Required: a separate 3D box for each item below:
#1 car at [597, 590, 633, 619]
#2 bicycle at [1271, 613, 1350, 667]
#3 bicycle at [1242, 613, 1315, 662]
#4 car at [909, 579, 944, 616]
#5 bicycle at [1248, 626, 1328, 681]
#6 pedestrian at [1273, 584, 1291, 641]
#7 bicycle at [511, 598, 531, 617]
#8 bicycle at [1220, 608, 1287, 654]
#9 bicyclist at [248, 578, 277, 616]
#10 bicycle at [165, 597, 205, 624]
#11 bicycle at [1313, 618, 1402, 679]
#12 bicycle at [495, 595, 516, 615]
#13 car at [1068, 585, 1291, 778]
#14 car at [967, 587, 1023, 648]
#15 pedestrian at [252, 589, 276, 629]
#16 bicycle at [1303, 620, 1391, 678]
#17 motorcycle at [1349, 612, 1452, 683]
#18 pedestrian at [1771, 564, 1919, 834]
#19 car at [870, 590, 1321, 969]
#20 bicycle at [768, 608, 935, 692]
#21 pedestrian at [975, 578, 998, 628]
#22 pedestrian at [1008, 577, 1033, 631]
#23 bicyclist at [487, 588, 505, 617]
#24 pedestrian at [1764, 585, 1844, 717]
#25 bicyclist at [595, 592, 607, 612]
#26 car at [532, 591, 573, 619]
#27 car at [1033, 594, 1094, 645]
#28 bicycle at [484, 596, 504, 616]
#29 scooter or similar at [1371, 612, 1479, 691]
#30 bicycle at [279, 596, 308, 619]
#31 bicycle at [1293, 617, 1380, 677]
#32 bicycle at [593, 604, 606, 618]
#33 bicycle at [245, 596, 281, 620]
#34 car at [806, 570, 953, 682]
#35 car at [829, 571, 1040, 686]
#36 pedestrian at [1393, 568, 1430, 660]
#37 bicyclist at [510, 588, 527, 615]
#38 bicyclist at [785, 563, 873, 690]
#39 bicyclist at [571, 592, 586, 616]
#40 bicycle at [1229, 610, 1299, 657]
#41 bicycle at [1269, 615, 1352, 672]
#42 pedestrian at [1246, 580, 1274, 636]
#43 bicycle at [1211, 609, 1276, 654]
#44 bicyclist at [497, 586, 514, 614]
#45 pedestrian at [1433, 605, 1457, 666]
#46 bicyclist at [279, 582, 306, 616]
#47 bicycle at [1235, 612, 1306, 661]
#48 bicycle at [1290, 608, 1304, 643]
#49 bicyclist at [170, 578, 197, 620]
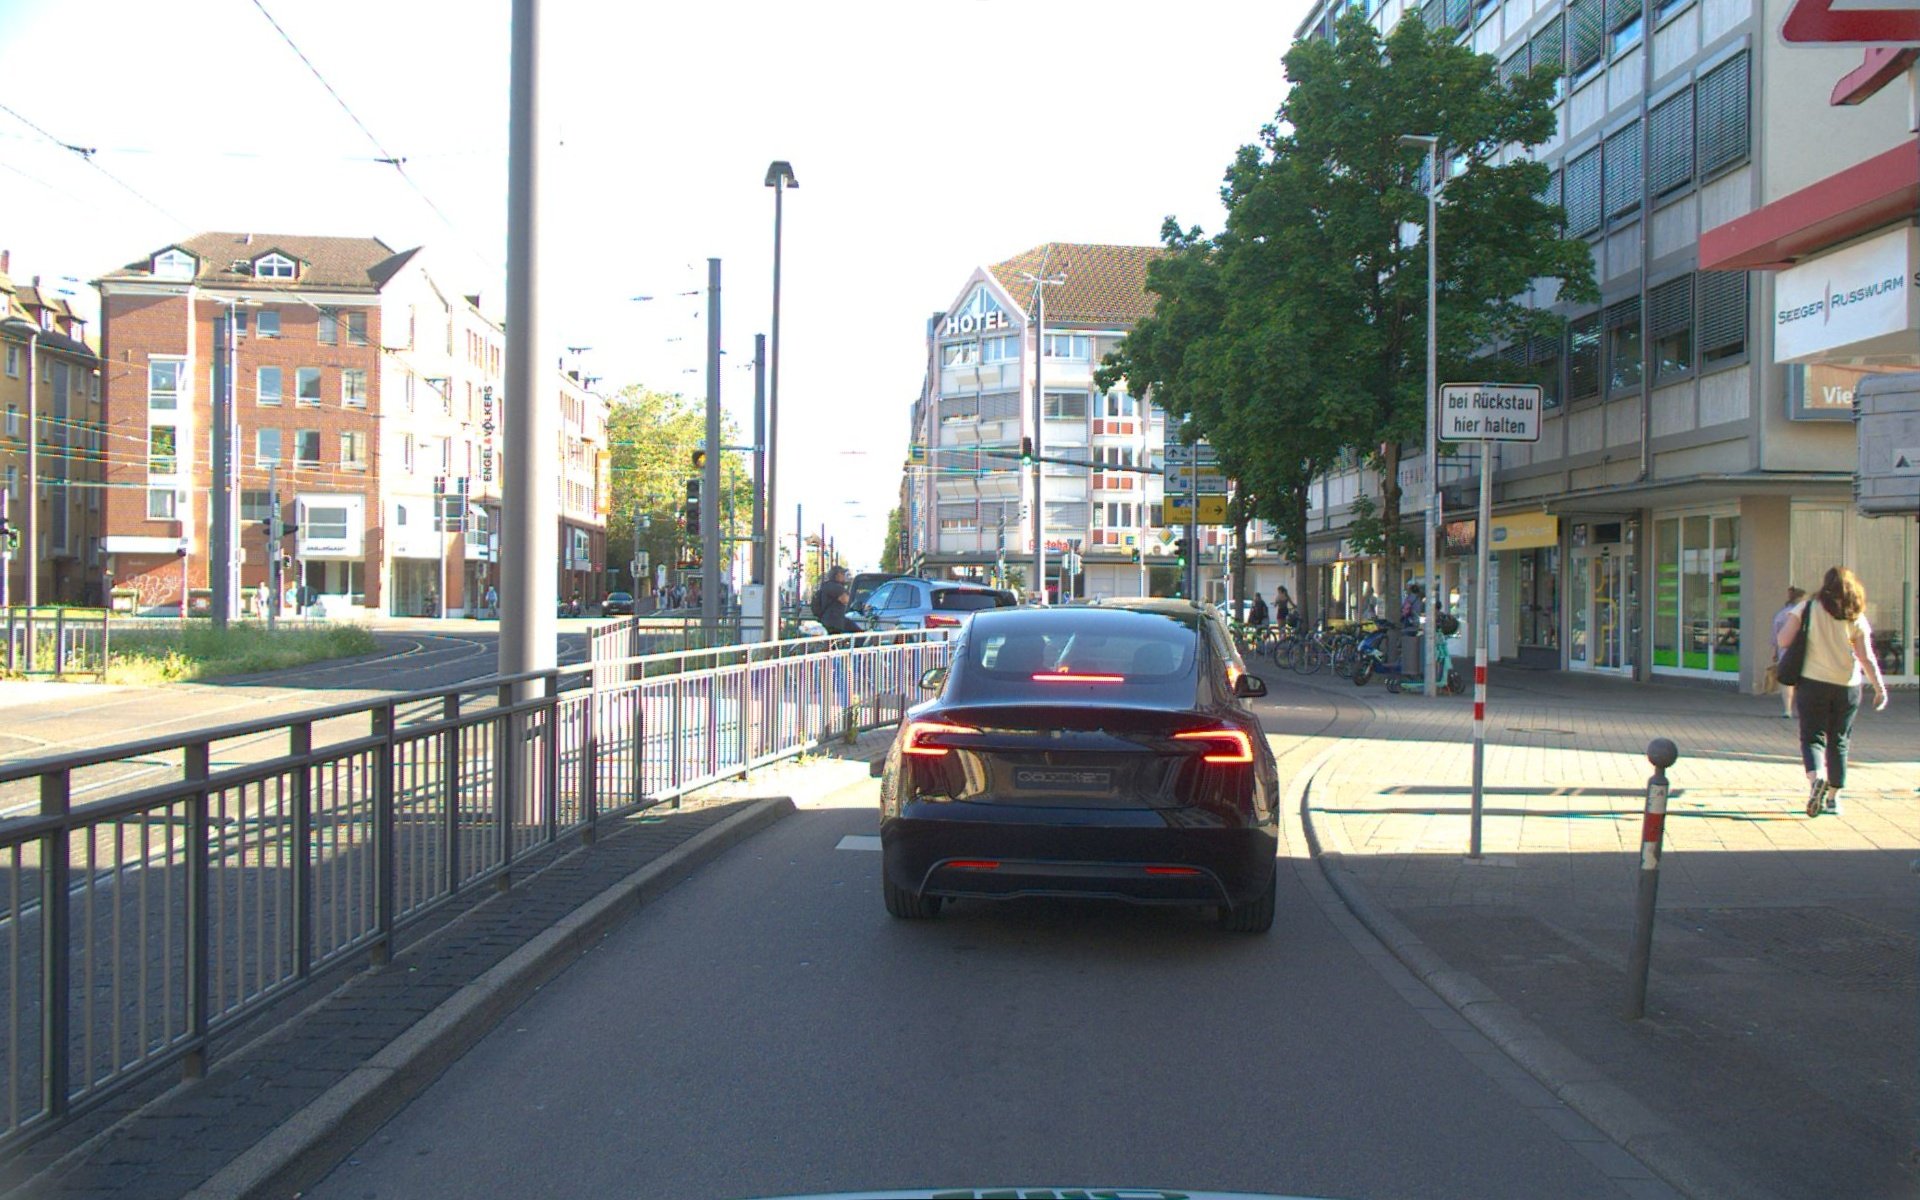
[{"bbox_3d":[-21.988,0.283,105.646,1.663,1.762,3.704,1,0,-3],"label":"car"},{"bbox_3d":[7.499,0.853,35.436,1.616,1.118,0.350,1,-1,1],"label":"bicycle"},{"bbox_3d":[7.383,0.863,38.387,1.616,1.118,0.350,1,-1,1],"label":"bicycle"},{"bbox_3d":[-1.640,-0.112,81.470,1.685,1.781,3.753,1,0,-1],"label":"car"},{"bbox_3d":[6.798,1.105,34.296,1.620,1.118,0.349,1,-1,-11],"label":"bicycle"},{"bbox_3d":[9.863,0.389,50.716,0.515,1.740,0.404,1,-1,11],"label":"pedestrian"},{"bbox_3d":[-26.574,0.464,100.190,0.518,1.107,2.284,1,0,1],"label":"bicycle"},{"bbox_3d":[7.363,0.774,41.473,1.616,1.118,0.350,0,0,1],"label":"bicycle"},{"bbox_3d":[-28.412,-0.128,67.379,0.880,1.529,0.696,1,-1,-1],"label":"bicyclist"},{"bbox_3d":[-28.310,0.385,60.456,0.437,0.988,2.246,1,0,-1],"label":"bicycle"},{"bbox_3d":[7.479,0.916,31.114,1.620,1.118,0.349,1,-1,-11],"label":"bicycle"},{"bbox_3d":[-26.440,0.301,96.256,0.518,1.107,2.284,3,0,1],"label":"bicycle"},{"bbox_3d":[1.911,0.627,14.961,1.714,1.480,4.003,1,0,6],"label":"car"},{"bbox_3d":[1.068,0.539,51.855,1.566,1.809,3.980,1,0,-1],"label":"car"},{"bbox_3d":[-32.522,0.409,77.261,0.767,1.852,0.746,1,-1,1],"label":"pedestrian"},{"bbox_3d":[7.383,0.930,31.534,1.620,1.079,0.349,1,-1,-11],"label":"bicycle"},{"bbox_3d":[7.809,0.838,29.357,1.673,1.194,0.541,1,-1,-3],"label":"motorcycle"},{"bbox_3d":[6.198,0.652,11.529,0.895,1.783,1.038,0,0,22],"label":"pedestrian"},{"bbox_3d":[0.682,0.724,8.653,1.791,1.481,4.002,1,0,4],"label":"car"},{"bbox_3d":[-1.443,0.667,22.418,2.313,1.072,0.622,1,-1,-39],"label":"bicycle"},{"bbox_3d":[1.100,0.122,68.851,0.902,2.049,0.972,1,-1,-1],"label":"pedestrian"},{"bbox_3d":[2.377,0.159,64.674,0.902,2.049,0.972,1,-1,-1],"label":"pedestrian"},{"bbox_3d":[-25.938,0.151,92.457,0.768,1.590,0.746,1,-1,-2],"label":"bicyclist"},{"bbox_3d":[11.214,0.667,22.005,0.871,1.696,0.808,1,-1,23],"label":"pedestrian"},{"bbox_3d":[-29.085,0.147,133.836,0.767,1.590,0.746,1,-1,1],"label":"bicyclist"},{"bbox_3d":[-23.922,0.306,97.206,1.677,1.553,4.031,1,0,-5],"label":"car"},{"bbox_3d":[3.518,0.650,56.732,1.783,1.643,3.826,1,0,-1],"label":"car"},{"bbox_3d":[-25.949,0.322,92.174,0.526,1.107,2.224,1,0,-2],"label":"bicycle"},{"bbox_3d":[7.663,0.838,27.280,1.610,1.236,0.644,1,-1,30],"label":"scooter or similar"},{"bbox_3d":[-29.677,0.331,73.640,0.396,0.998,1.695,1,0,7],"label":"bicycle"},{"bbox_3d":[7.279,0.908,31.957,1.620,1.118,0.349,1,-1,-11],"label":"bicycle"},{"bbox_3d":[-29.107,0.922,133.672,0.518,1.107,2.225,1,0,1],"label":"bicycle"},{"bbox_3d":[-28.391,0.323,67.420,0.513,0.988,2.246,1,0,-1],"label":"bicycle"},{"bbox_3d":[-1.659,0.485,32.546,1.962,2.049,3.981,0,0,-17],"label":"car"},{"bbox_3d":[-0.497,0.425,26.455,1.859,1.691,4.125,1,0,-25],"label":"car"},{"bbox_3d":[10.185,0.316,37.328,0.648,2.049,0.579,1,-1,1],"label":"pedestrian"},{"bbox_3d":[-26.573,0.081,99.526,0.767,1.590,0.746,0,0,1],"label":"bicyclist"},{"bbox_3d":[-1.753,0.350,22.131,0.753,1.657,0.964,1,-1,-39],"label":"bicyclist"},{"bbox_3d":[-24.508,0.263,106.323,0.769,1.554,0.589,1,-1,3],"label":"bicyclist"},{"bbox_3d":[7.428,0.818,40.428,1.616,1.118,0.350,1,-1,1],"label":"bicycle"},{"bbox_3d":[7.096,0.885,33.482,1.620,1.118,0.349,1,-1,-11],"label":"bicycle"},{"bbox_3d":[9.151,0.244,50.437,0.685,1.691,0.777,1,-1,-1],"label":"pedestrian"},{"bbox_3d":[7.293,0.799,42.566,1.616,1.118,0.350,1,-1,1],"label":"bicycle"},{"bbox_3d":[-26.457,-0.003,96.263,0.767,1.590,0.746,0,0,1],"label":"bicyclist"},{"bbox_3d":[10.925,0.799,37.272,0.381,1.367,0.513,1,-1,1],"label":"pedestrian"},{"bbox_3d":[-29.686,-0.033,73.573,0.689,1.496,0.973,0,0,7],"label":"bicyclist"},{"bbox_3d":[7.399,0.865,39.414,1.616,1.118,0.350,1,-1,1],"label":"bicycle"},{"bbox_3d":[10.254,0.769,50.341,0.325,1.052,1.257,1,0,9],"label":"bicycle"},{"bbox_3d":[-28.318,-0.034,60.309,0.620,1.529,0.696,1,-1,-1],"label":"bicyclist"}]
